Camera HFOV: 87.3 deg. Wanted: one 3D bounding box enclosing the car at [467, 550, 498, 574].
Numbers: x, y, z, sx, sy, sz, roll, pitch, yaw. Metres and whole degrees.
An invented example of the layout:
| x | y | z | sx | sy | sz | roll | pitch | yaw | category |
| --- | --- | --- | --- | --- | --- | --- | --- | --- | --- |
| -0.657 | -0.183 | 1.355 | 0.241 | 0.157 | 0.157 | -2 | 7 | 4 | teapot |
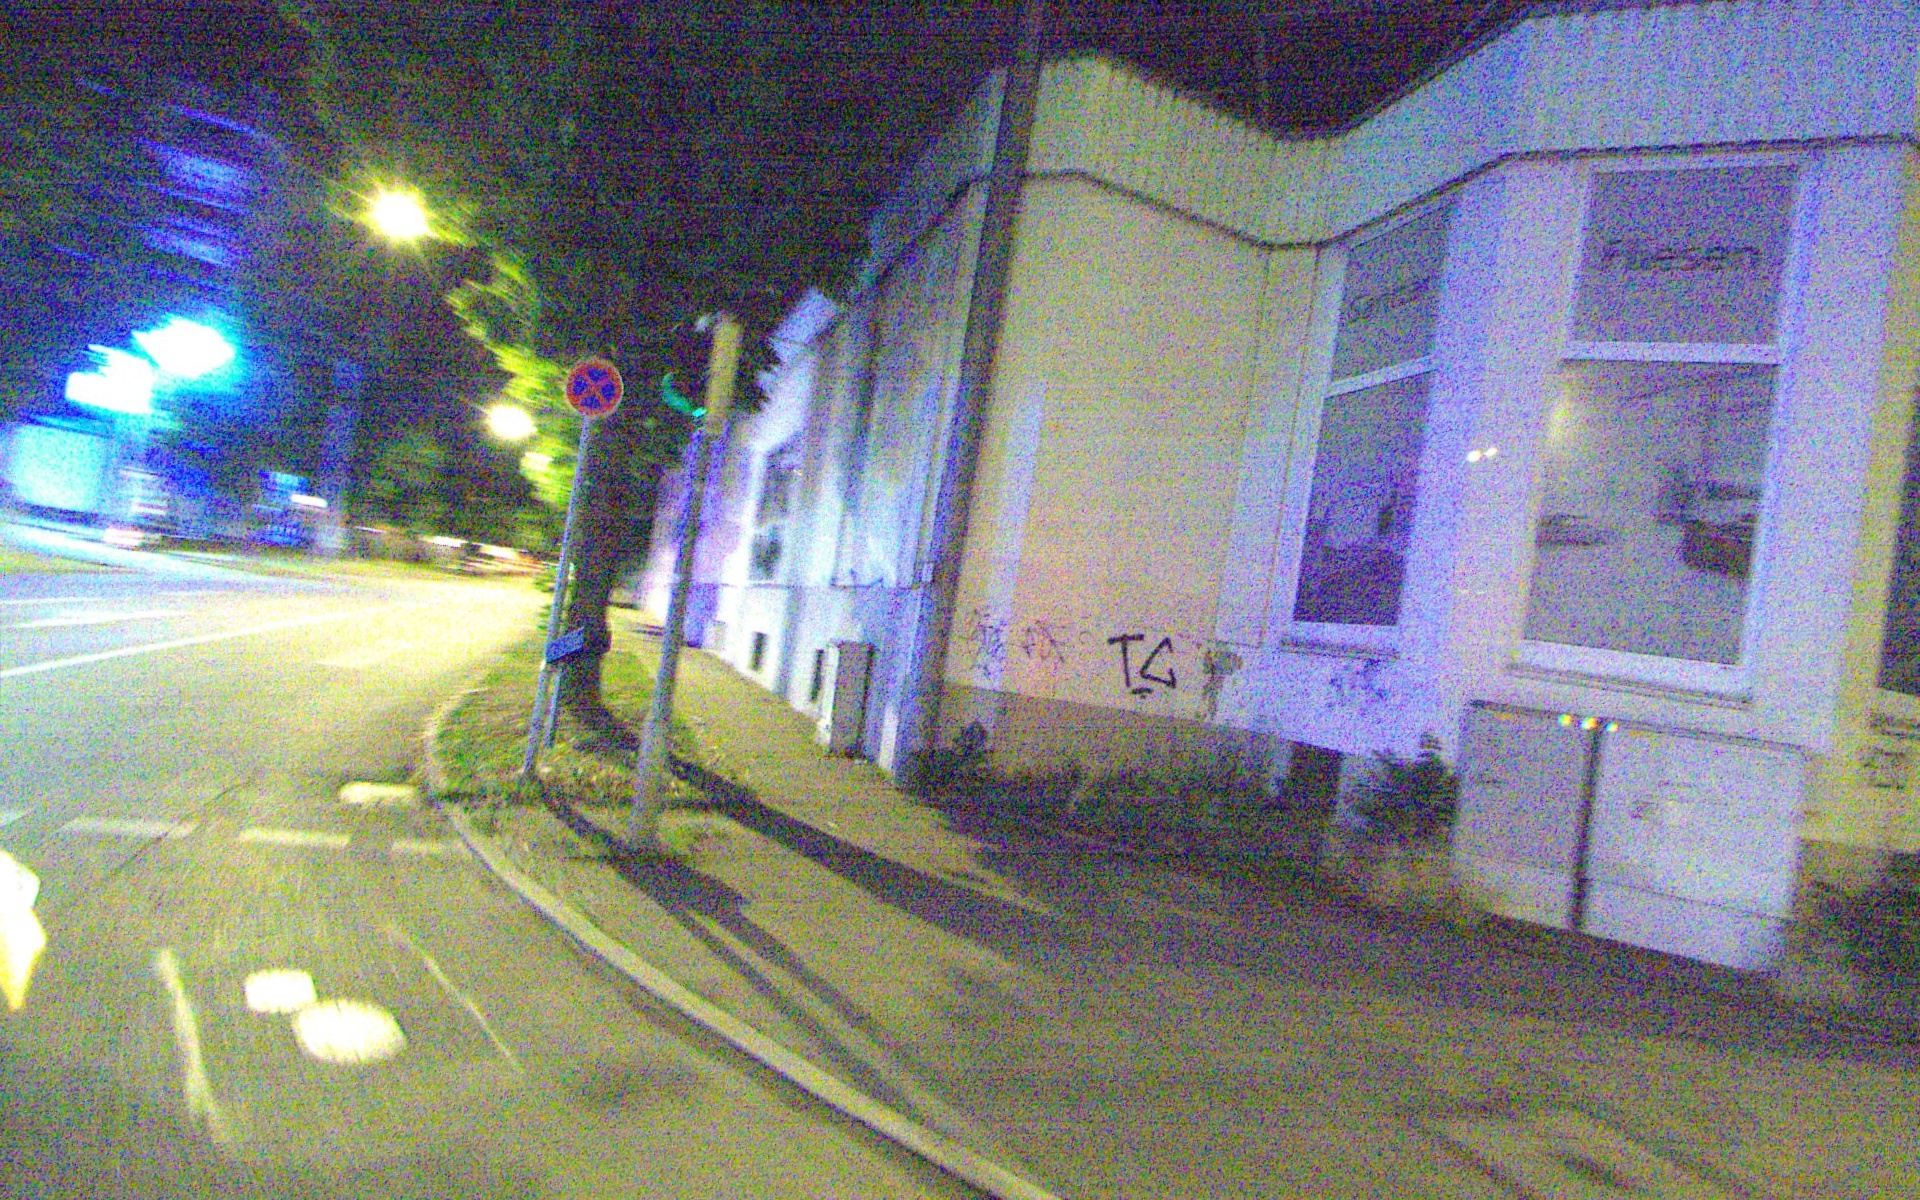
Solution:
| x | y | z | sx | sy | sz | roll | pitch | yaw | category |
| --- | --- | --- | --- | --- | --- | --- | --- | --- | --- |
| -43.842 | -3.459 | 92.405 | 1.972 | 1.864 | 3.983 | 8 | -2 | -20 | car |

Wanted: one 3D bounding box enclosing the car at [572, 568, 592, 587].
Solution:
| x | y | z | sx | sy | sz | roll | pitch | yaw | category |
| --- | --- | --- | --- | --- | --- | --- | --- | --- | --- |
| -47.501 | -2.847 | 126.394 | 1.975 | 2.037 | 3.977 | 8 | -2 | -25 | car |

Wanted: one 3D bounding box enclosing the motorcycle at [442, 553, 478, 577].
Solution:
| x | y | z | sx | sy | sz | roll | pitch | yaw | category |
| --- | --- | --- | --- | --- | --- | --- | --- | --- | --- |
| -36.242 | -2.555 | 72.974 | 0.864 | 1.409 | 2.014 | 7 | -2 | 40 | motorcycle |

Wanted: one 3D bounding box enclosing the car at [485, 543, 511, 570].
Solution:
| x | y | z | sx | sy | sz | roll | pitch | yaw | category |
| --- | --- | --- | --- | --- | --- | --- | --- | --- | --- |
| -49.425 | -4.642 | 107.682 | 1.973 | 2.443 | 4.464 | 8 | -1 | -21 | car |

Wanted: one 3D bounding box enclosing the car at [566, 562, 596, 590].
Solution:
| x | y | z | sx | sy | sz | roll | pitch | yaw | category |
| --- | --- | --- | --- | --- | --- | --- | --- | --- | --- |
| -32.546 | -2.053 | 86.354 | 1.975 | 2.037 | 3.977 | 8 | -2 | -25 | car |
